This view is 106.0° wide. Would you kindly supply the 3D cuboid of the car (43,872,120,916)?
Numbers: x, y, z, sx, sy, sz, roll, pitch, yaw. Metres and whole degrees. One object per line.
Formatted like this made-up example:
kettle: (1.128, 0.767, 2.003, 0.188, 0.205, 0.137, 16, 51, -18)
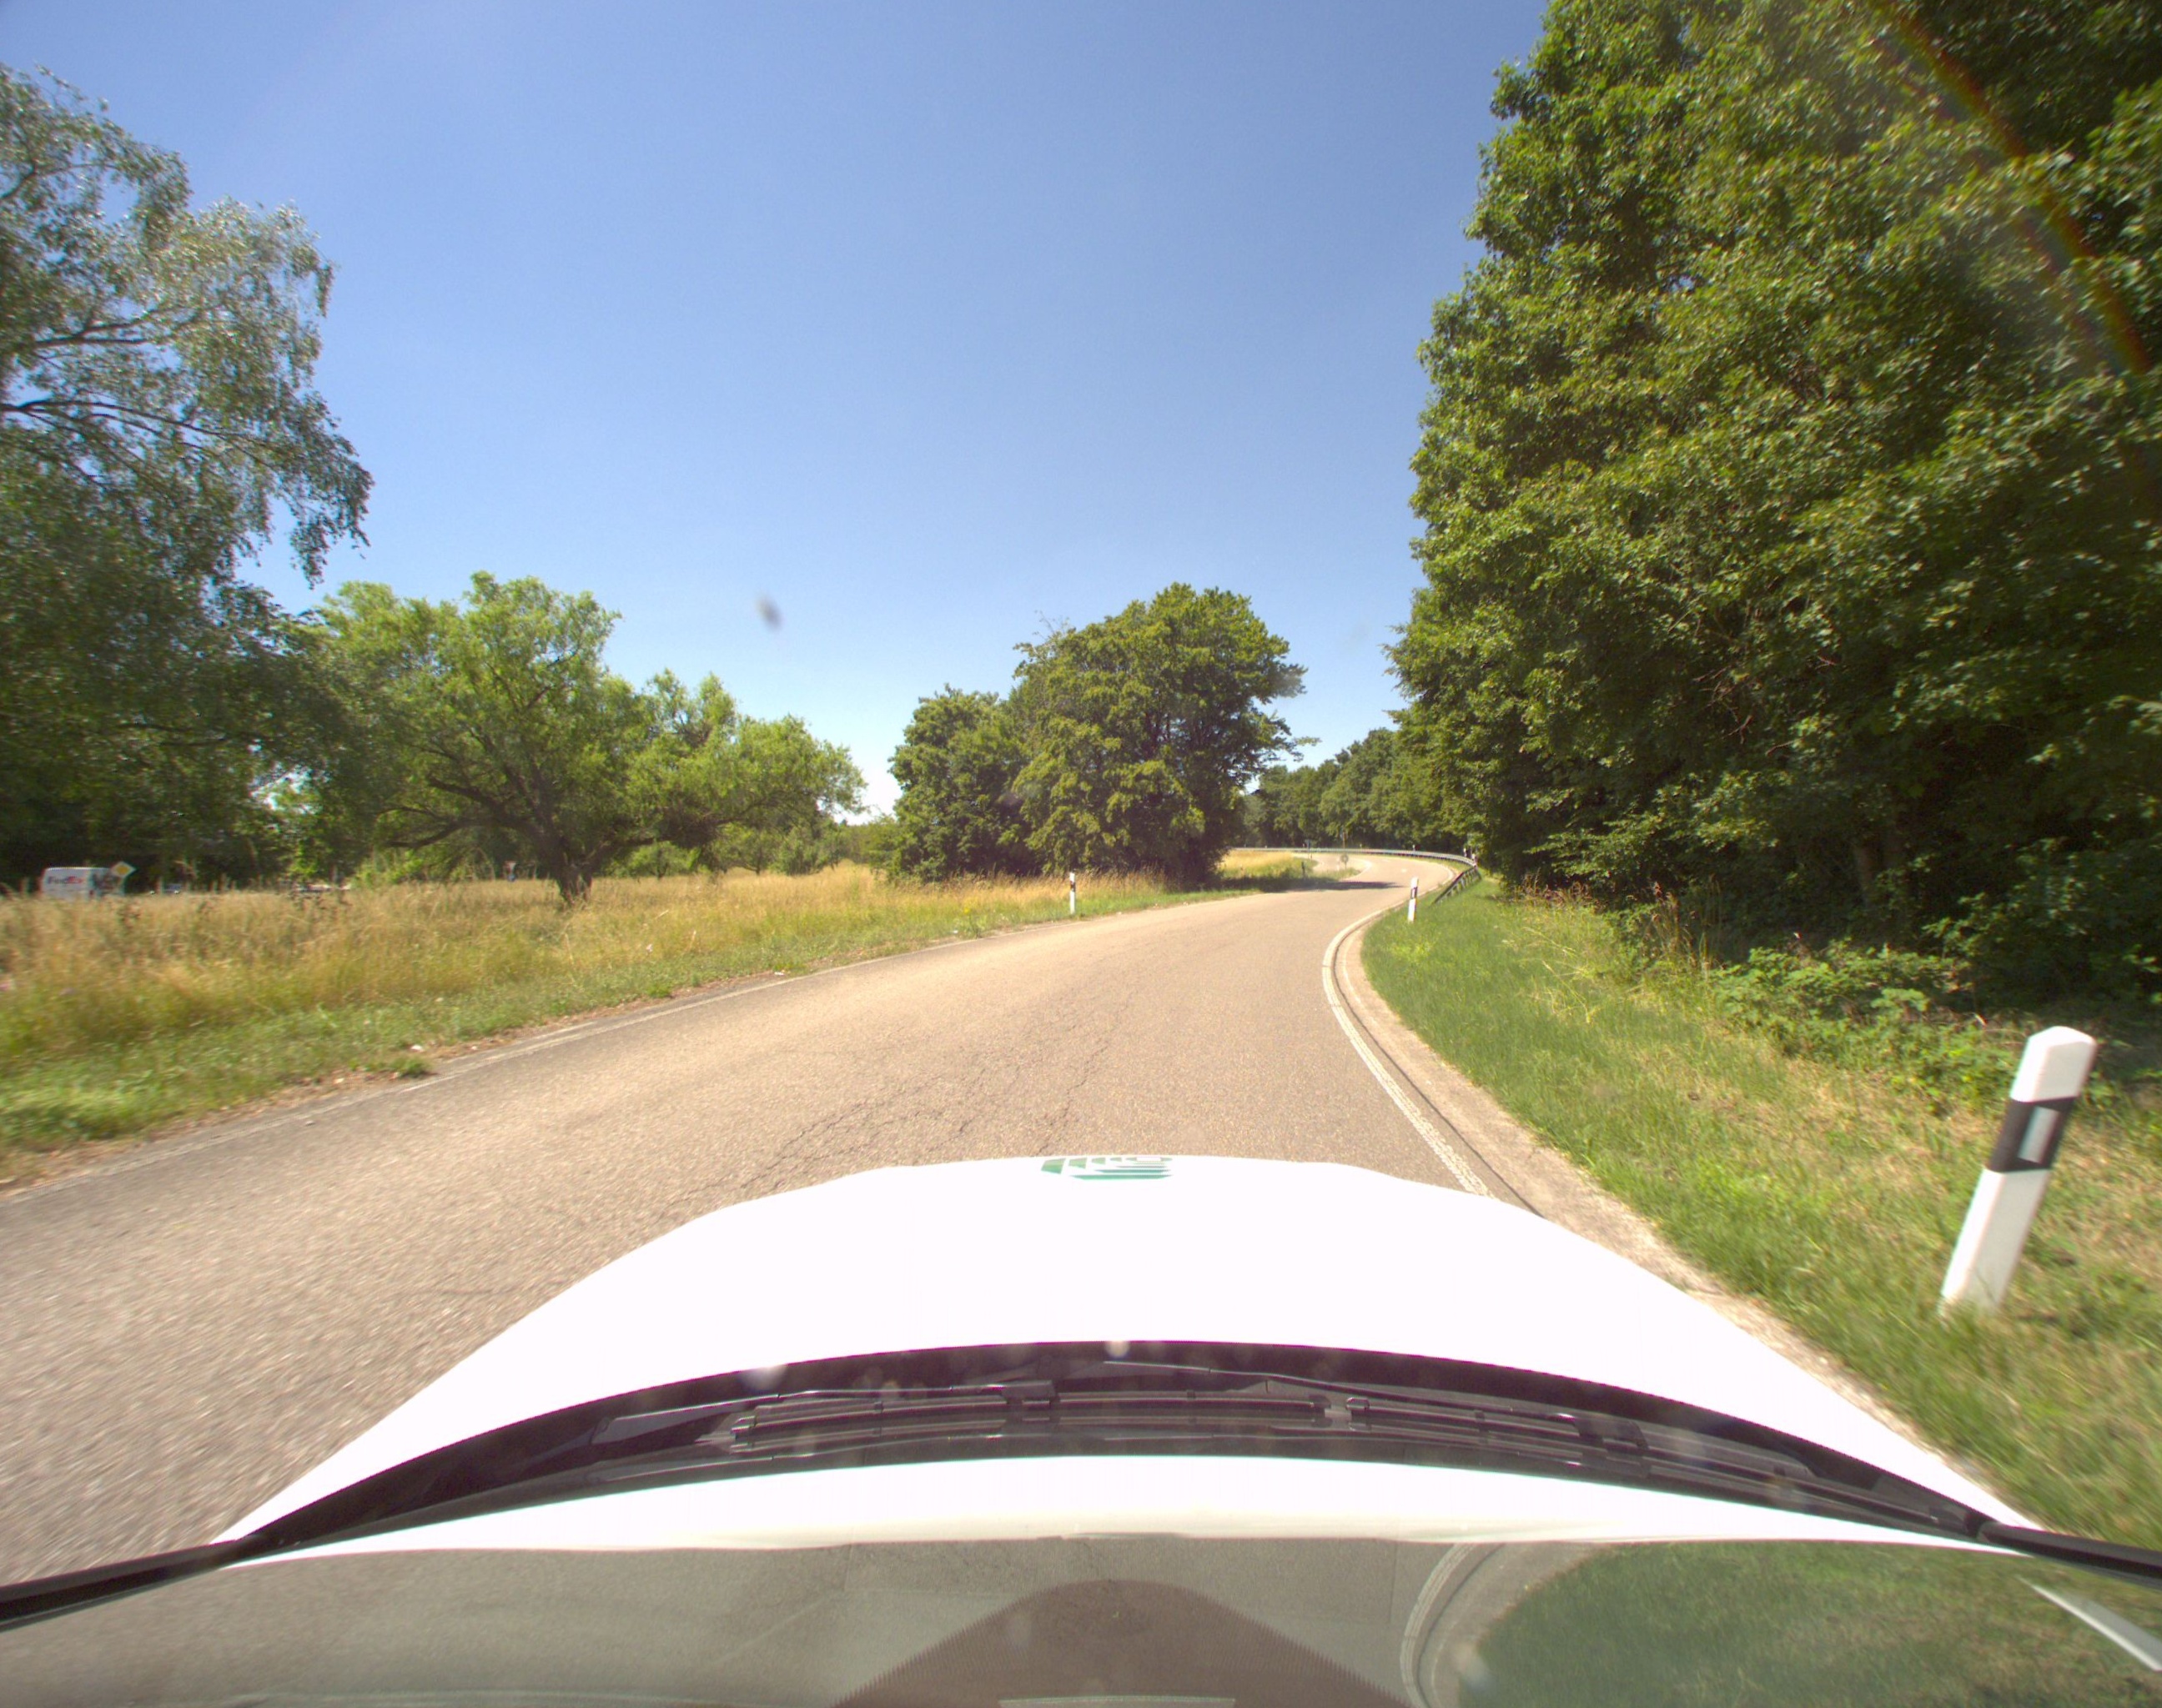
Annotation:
car: (-58.812, 2.302, 48.011, 2.135, 2.501, 4.041, 2, -2, -41)
